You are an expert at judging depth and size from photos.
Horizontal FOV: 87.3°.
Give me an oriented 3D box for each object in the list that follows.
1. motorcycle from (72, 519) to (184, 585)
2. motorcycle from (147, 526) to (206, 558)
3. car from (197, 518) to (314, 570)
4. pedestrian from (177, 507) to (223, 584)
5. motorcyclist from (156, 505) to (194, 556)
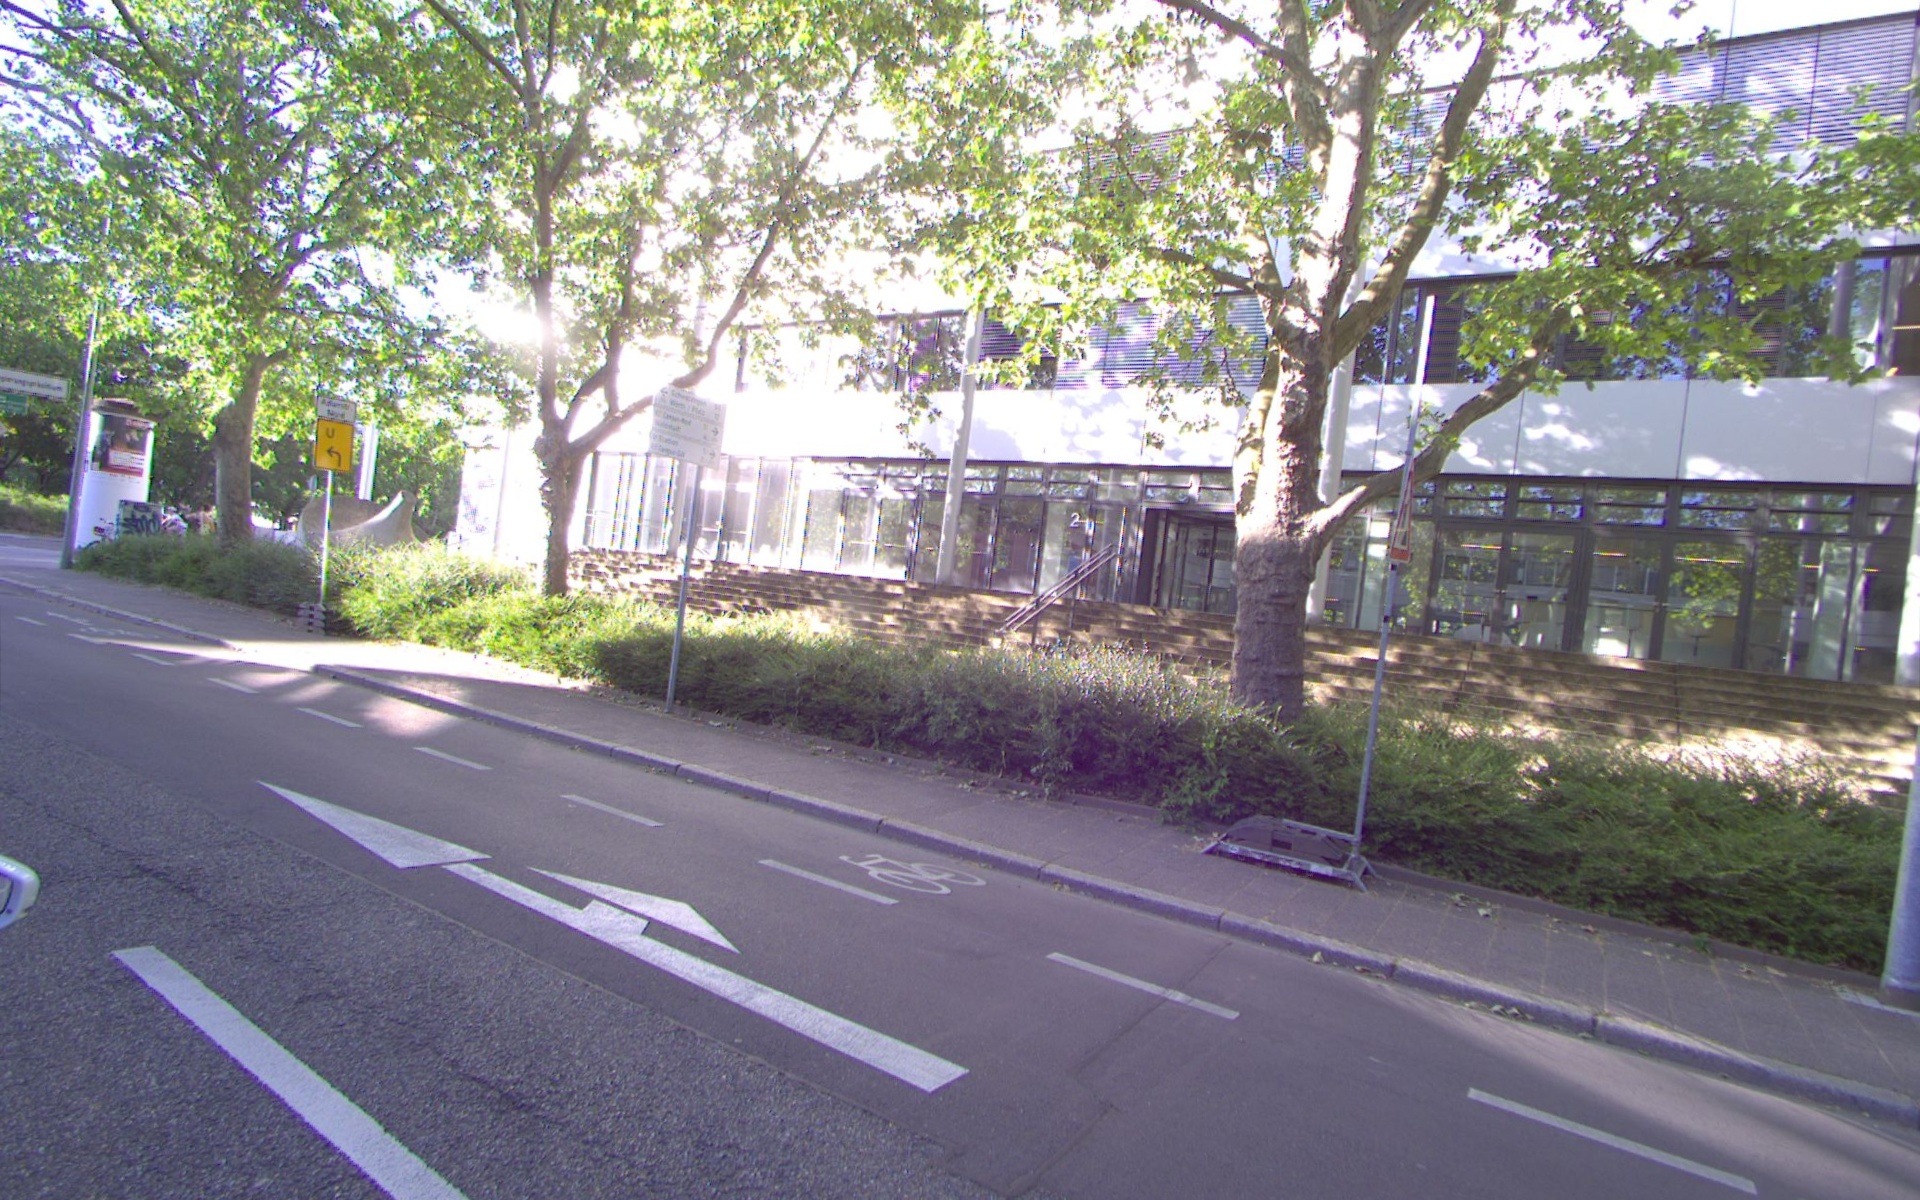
[{"bbox_3d":[-19.223,-1.094,23.278,0.712,1.257,1.782,6,-2,37],"label":"motorcycle"},{"bbox_3d":[-31.376,-2.308,40.303,0.409,1.014,1.720,7,-1,36],"label":"motorcycle"},{"bbox_3d":[-32.698,-2.565,46.819,1.708,1.792,3.996,7,-1,30],"label":"car"},{"bbox_3d":[-19.314,-1.383,25.555,0.658,1.849,0.647,7,0,41],"label":"pedestrian"},{"bbox_3d":[-31.370,-2.758,40.216,0.370,1.899,0.983,6,-1,36],"label":"motorcyclist"}]
